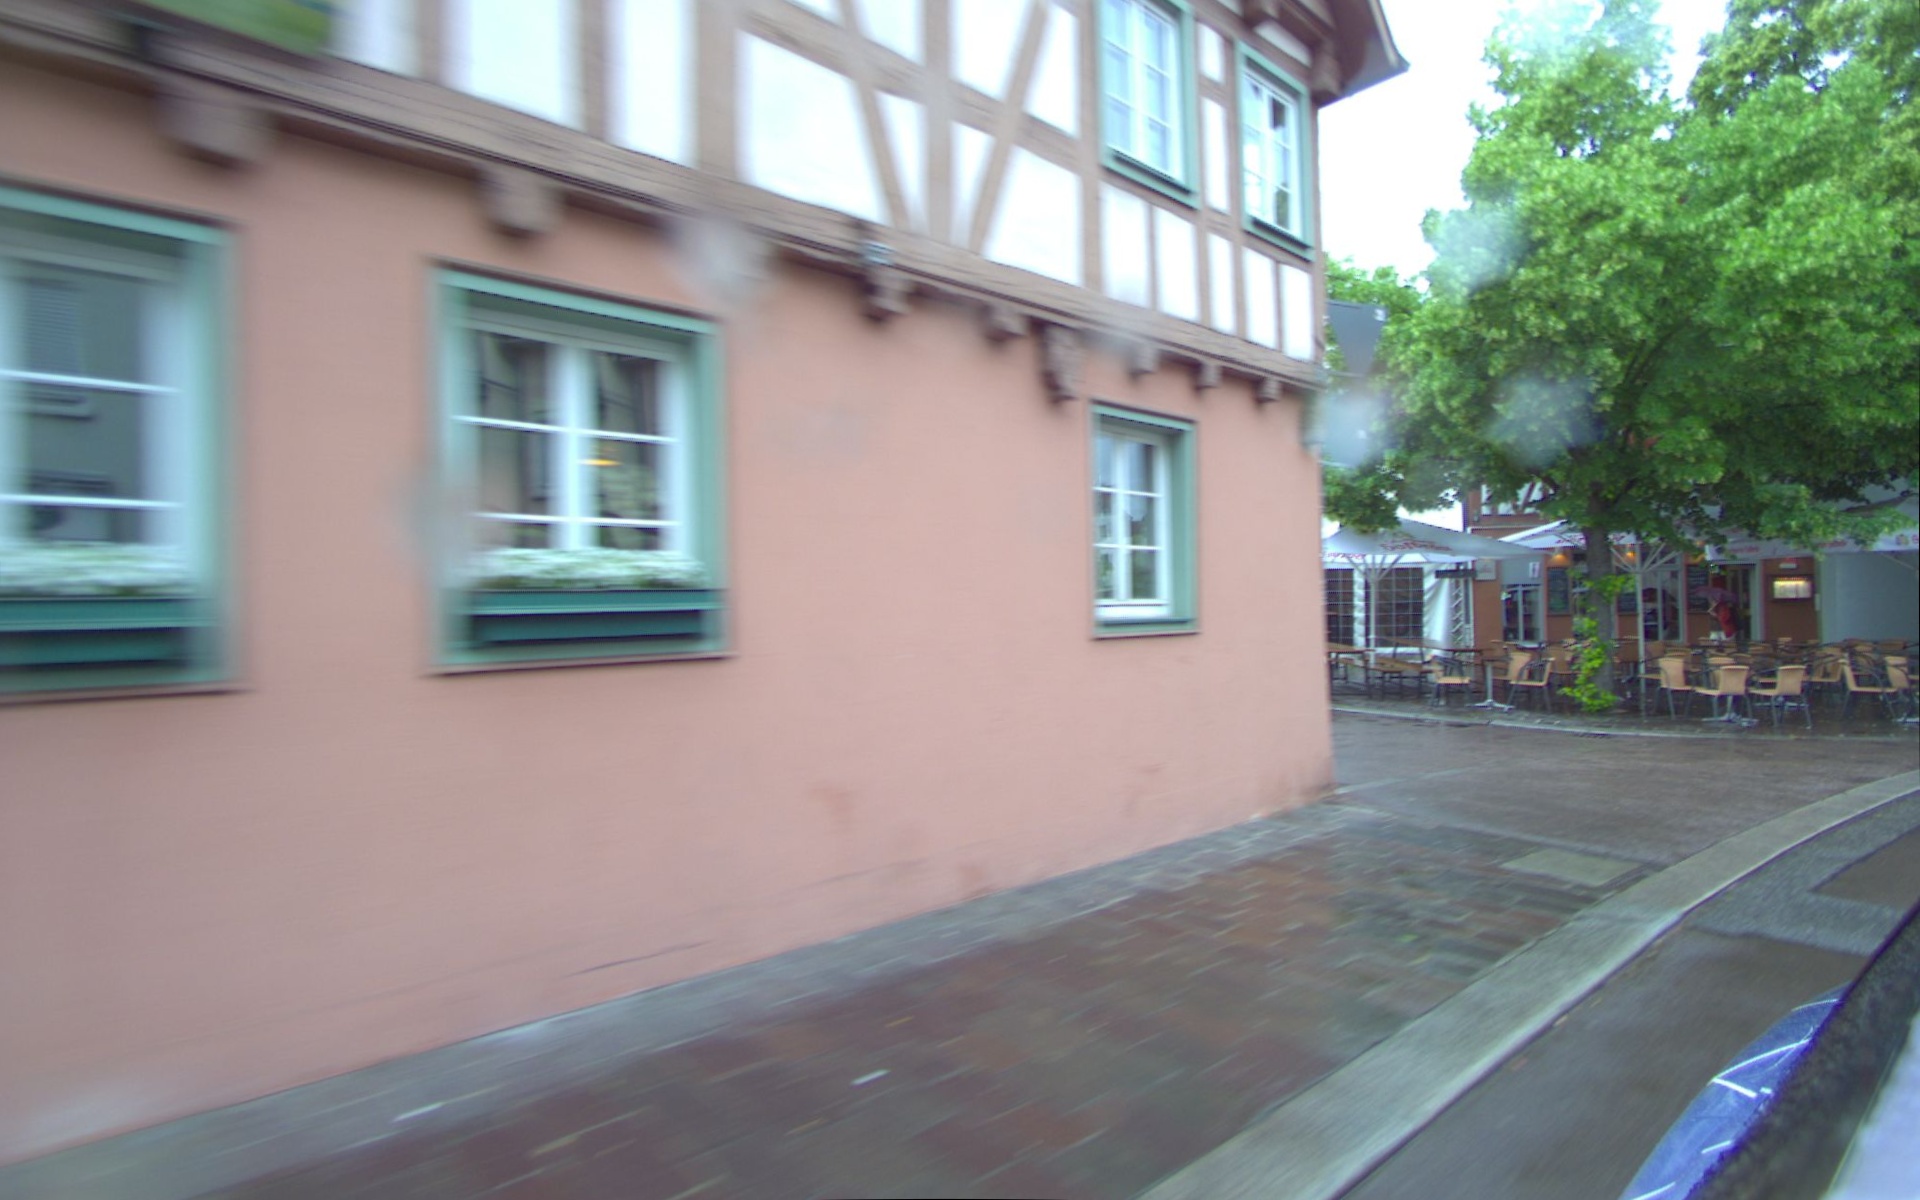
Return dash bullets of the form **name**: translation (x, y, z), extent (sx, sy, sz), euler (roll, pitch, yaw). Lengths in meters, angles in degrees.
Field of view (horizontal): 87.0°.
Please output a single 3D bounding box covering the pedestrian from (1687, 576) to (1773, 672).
- **pedestrian**: translation (14.490, 0.439, 19.071), extent (0.873, 1.735, 0.887), euler (-2, -1, 3)
